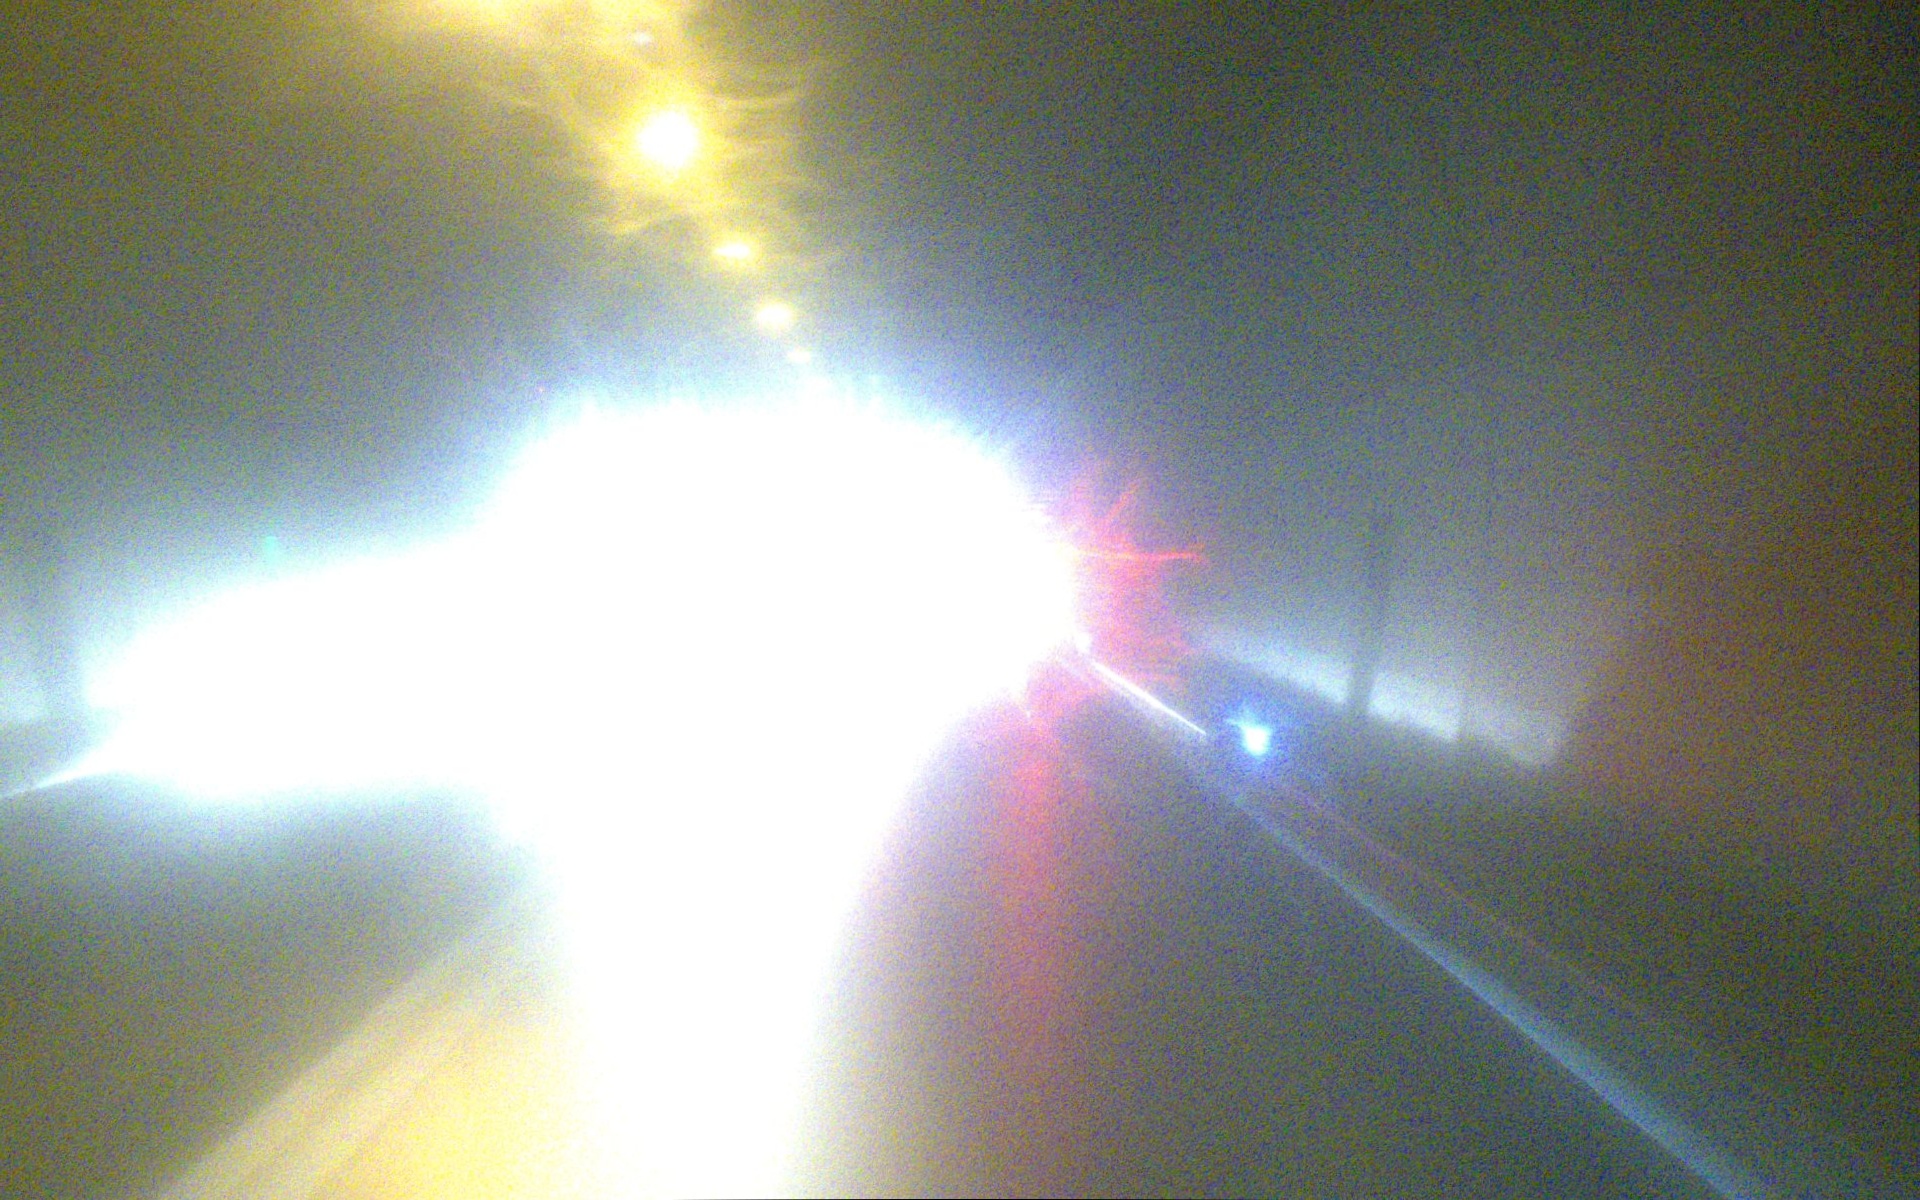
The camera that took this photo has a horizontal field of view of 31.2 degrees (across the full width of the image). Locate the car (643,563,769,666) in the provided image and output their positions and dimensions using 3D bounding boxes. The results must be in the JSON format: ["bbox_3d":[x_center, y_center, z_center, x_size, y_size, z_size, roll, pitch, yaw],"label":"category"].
[{"bbox_3d":[-4.078,0.209,55.688,1.635,1.529,3.646,-1,1,2],"label":"car"}]

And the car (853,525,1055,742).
[{"bbox_3d":[-0.055,0.232,30.361,1.635,1.752,4.146,-1,1,0],"label":"car"}]
